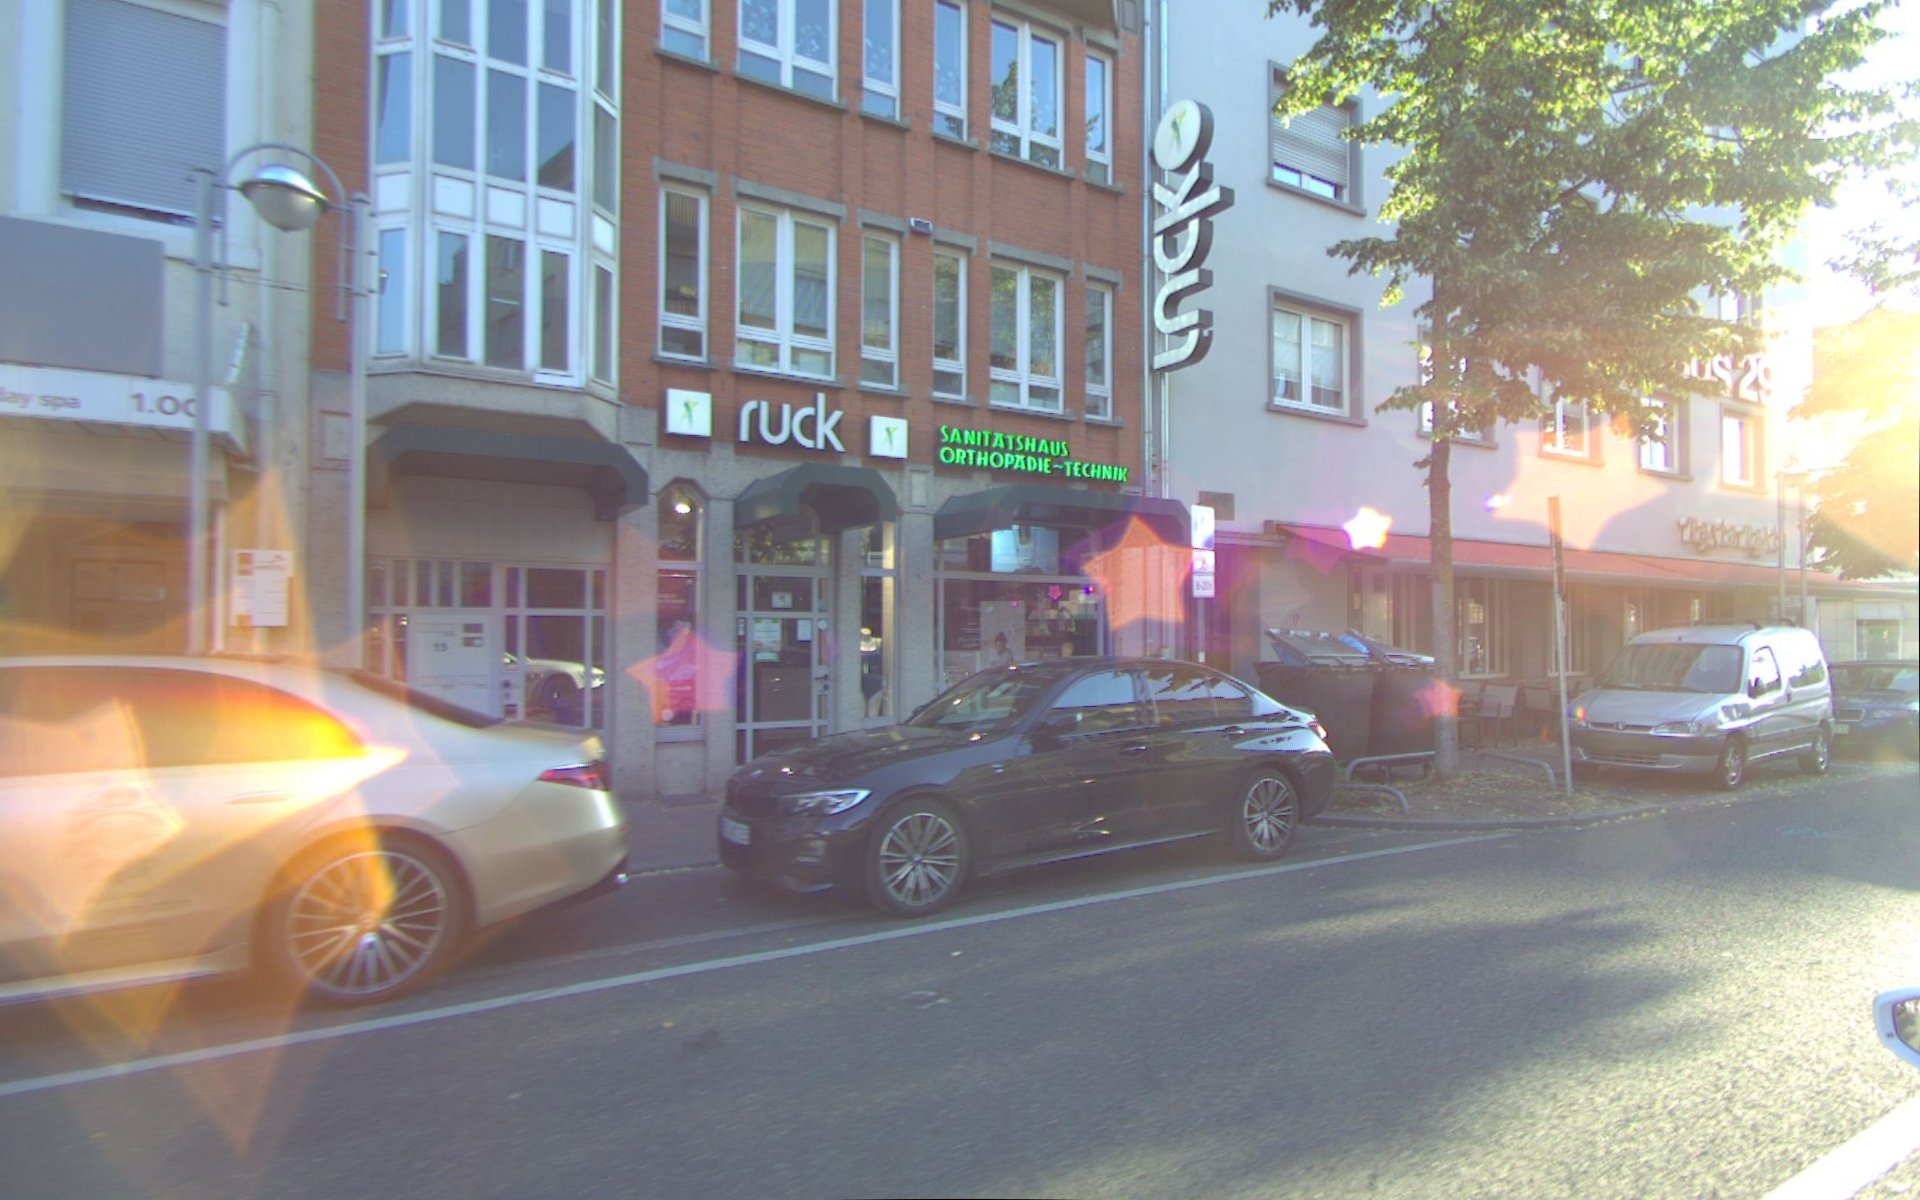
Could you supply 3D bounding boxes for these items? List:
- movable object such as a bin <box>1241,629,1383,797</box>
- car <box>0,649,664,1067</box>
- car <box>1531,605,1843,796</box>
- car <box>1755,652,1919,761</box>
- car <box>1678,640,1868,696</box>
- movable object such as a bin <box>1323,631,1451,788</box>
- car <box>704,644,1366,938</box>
[{"bbox_3d":[3.738,1.148,10.664,1.323,1.641,0.776,1,0,-34],"label":"movable object such as a bin"},{"bbox_3d":[-4.088,0.986,4.441,5.045,1.491,1.985,1,-3,-29],"label":"car"},{"bbox_3d":[8.708,1.121,11.947,4.011,1.912,1.659,2,-4,-34],"label":"car"},{"bbox_3d":[13.887,1.520,15.040,4.232,1.434,1.714,2,-4,-31],"label":"car"},{"bbox_3d":[24.251,1.994,30.208,4.249,1.518,1.994,-1,-2,35],"label":"car"},{"bbox_3d":[4.830,1.195,11.357,1.196,1.641,0.776,1,0,-34],"label":"movable object such as a bin"},{"bbox_3d":[0.648,1.087,7.080,4.489,1.491,1.713,1,-4,-31],"label":"car"}]
